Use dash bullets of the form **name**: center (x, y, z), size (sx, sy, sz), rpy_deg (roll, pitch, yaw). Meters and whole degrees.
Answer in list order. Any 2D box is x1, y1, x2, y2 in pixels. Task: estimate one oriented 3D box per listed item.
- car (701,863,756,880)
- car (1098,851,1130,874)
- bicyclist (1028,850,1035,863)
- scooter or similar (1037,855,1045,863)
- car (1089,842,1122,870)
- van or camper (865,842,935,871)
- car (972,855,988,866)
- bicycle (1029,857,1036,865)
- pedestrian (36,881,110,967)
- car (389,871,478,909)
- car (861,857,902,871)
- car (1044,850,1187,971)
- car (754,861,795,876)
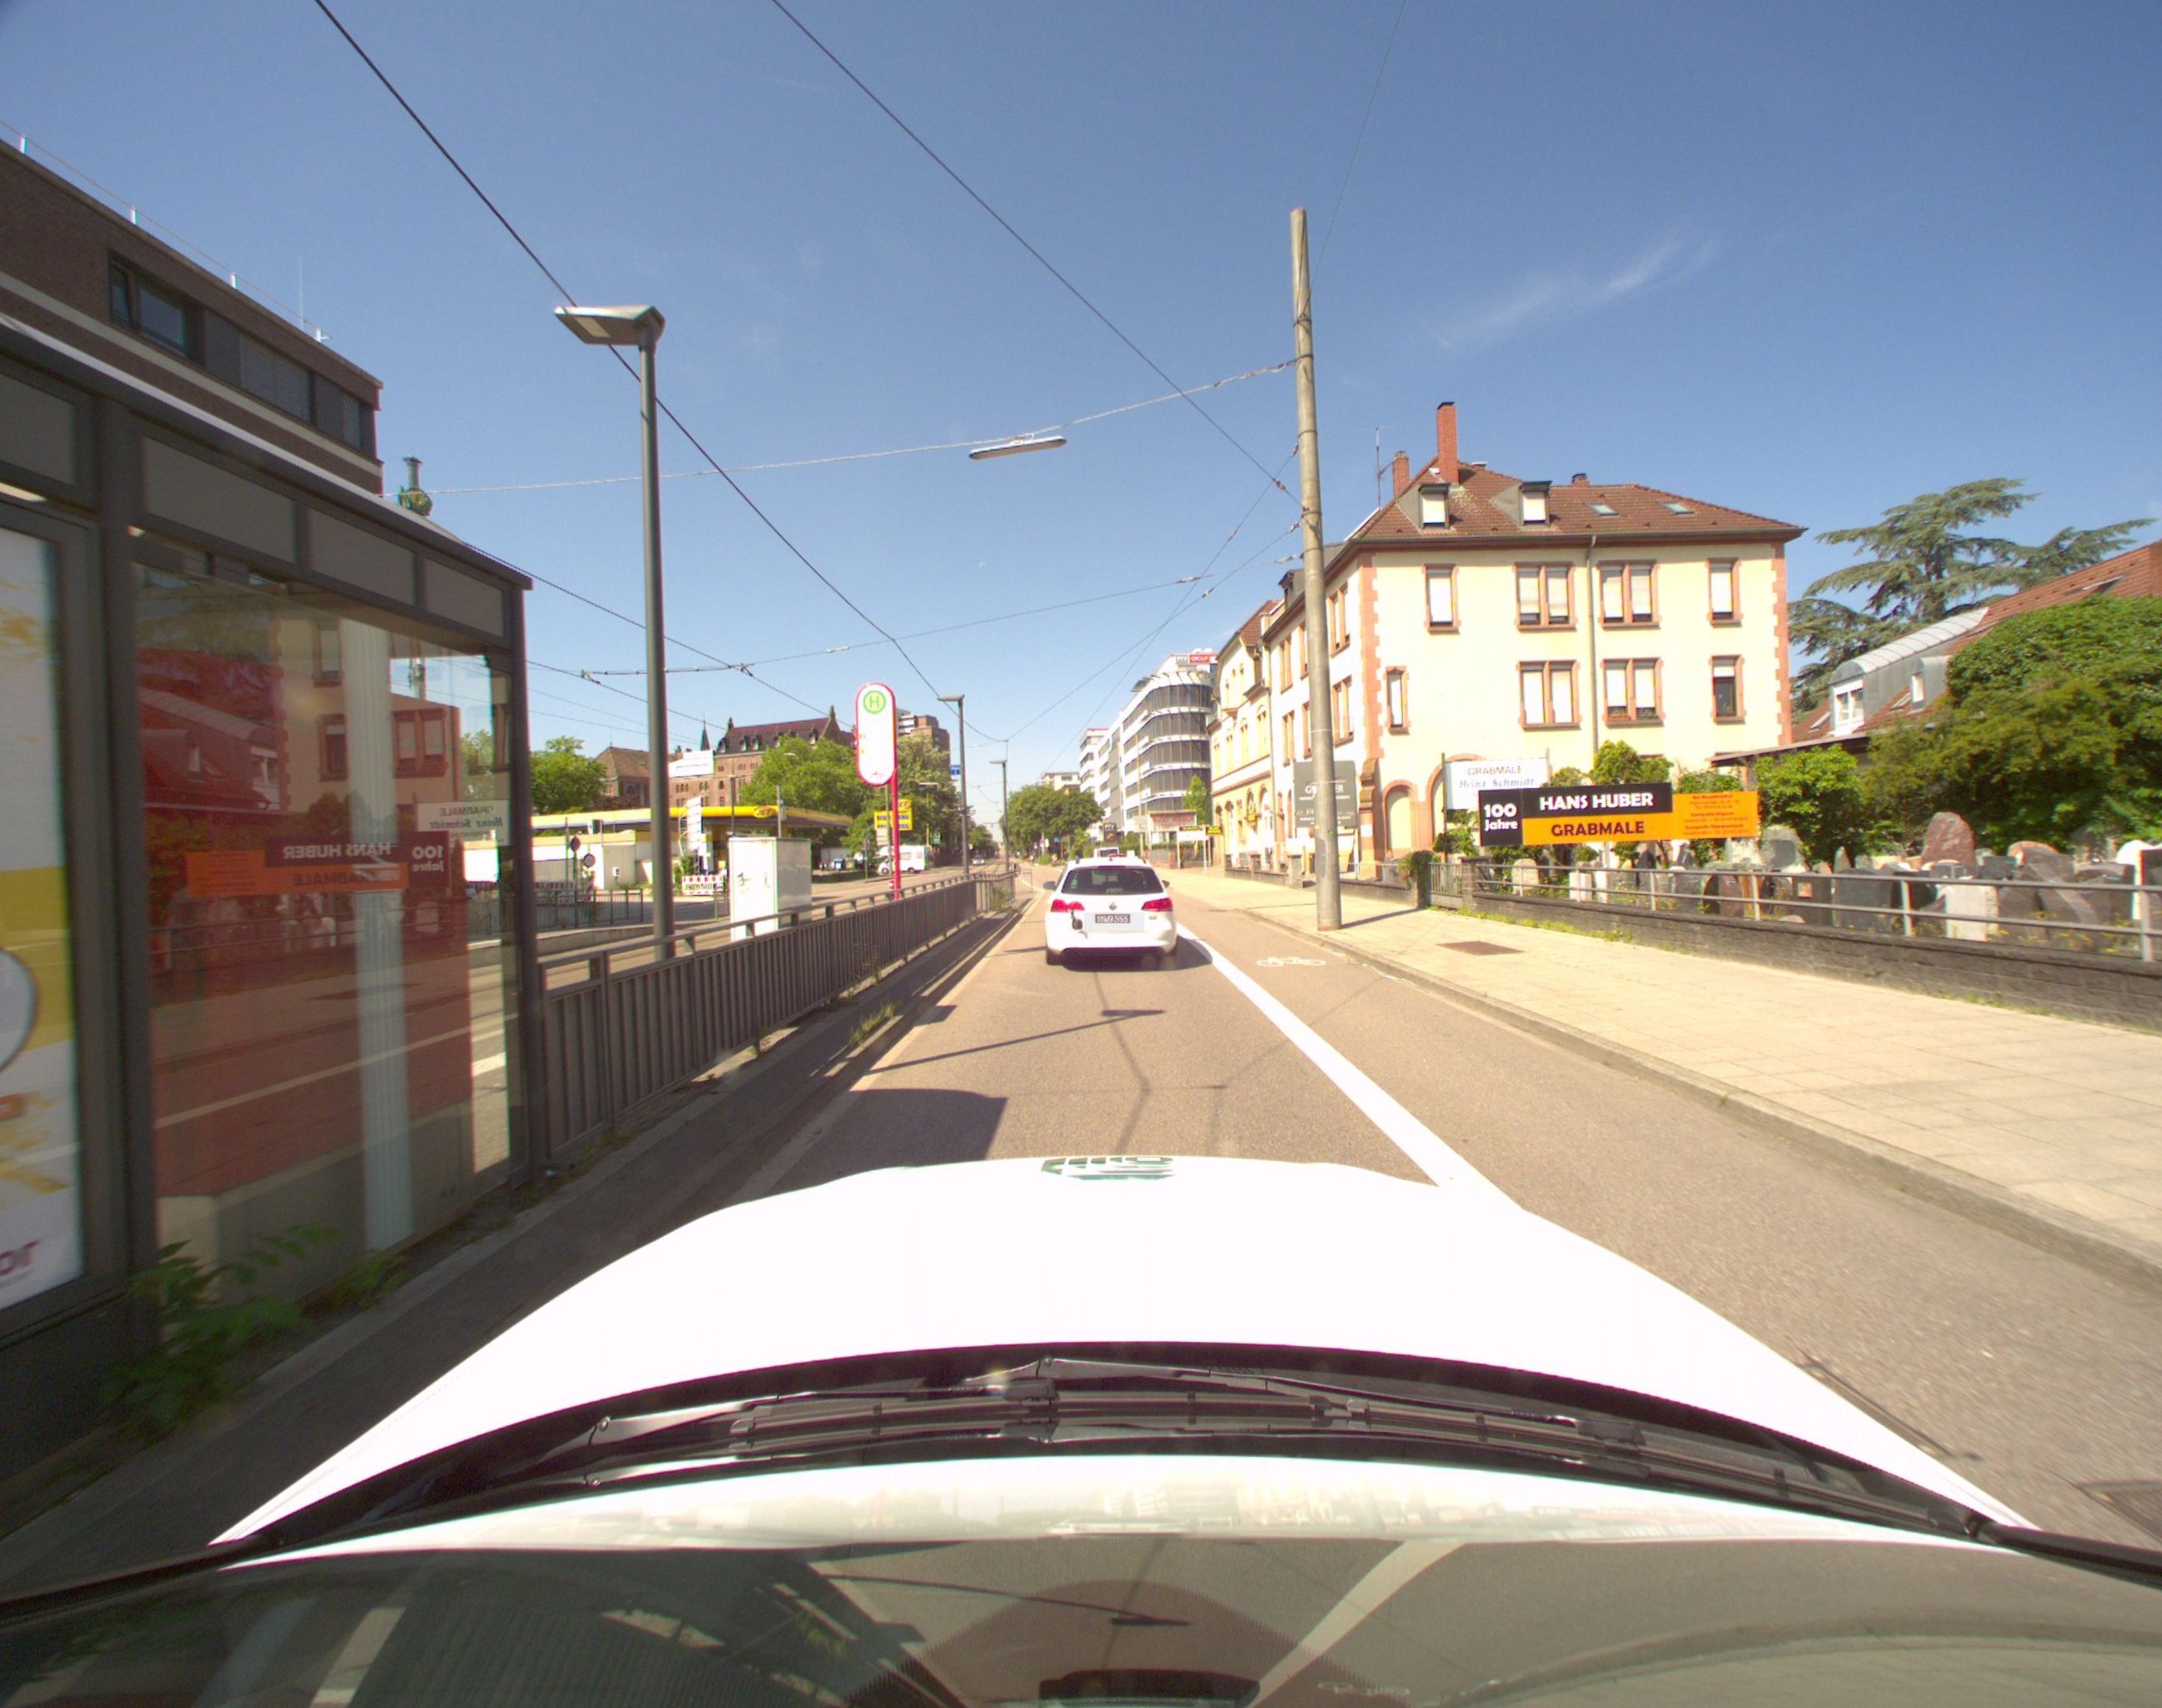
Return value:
- **car**: center (-29.732, 1.427, 68.806), size (1.683, 1.303, 4.412), rpy_deg (0, 0, 19)
- **car**: center (2.354, 0.590, 58.768), size (1.719, 1.443, 4.305), rpy_deg (-4, 0, -5)
- **bicyclist**: center (-6.592, 0.342, 109.017), size (0.784, 1.629, 0.737), rpy_deg (-3, -1, -5)
- **scooter or similar**: center (-6.389, 0.814, 130.729), size (1.139, 1.154, 0.493), rpy_deg (-2, 0, 0)
- **car**: center (1.923, 0.177, 65.054), size (1.973, 2.054, 5.182), rpy_deg (-4, 0, -5)
- **van or camper**: center (-18.917, 0.245, 85.368), size (6.659, 2.967, 2.620), rpy_deg (1, 0, 5)
- **car**: center (-15.486, 0.980, 125.026), size (1.740, 1.571, 3.891), rpy_deg (-3, 0, 0)
- **bicycle**: center (-6.519, 0.911, 108.795), size (0.809, 1.078, 2.008), rpy_deg (-2, 0, -5)
- **pedestrian**: center (-20.544, 1.408, 16.612), size (0.579, 1.664, 0.700), rpy_deg (-2, 0, 0)
- **car**: center (-27.323, 1.485, 34.337), size (3.948, 1.423, 1.813), rpy_deg (0, 0, 34)
- **car**: center (-24.679, 1.211, 100.738), size (1.924, 1.625, 4.608), rpy_deg (-2, 0, 39)
- **car**: center (0.349, 0.685, 12.270), size (1.749, 1.442, 4.409), rpy_deg (-1, 0, -2)
- **car**: center (-35.146, 1.653, 93.351), size (4.123, 1.527, 1.947), rpy_deg (-2, -1, 20)
